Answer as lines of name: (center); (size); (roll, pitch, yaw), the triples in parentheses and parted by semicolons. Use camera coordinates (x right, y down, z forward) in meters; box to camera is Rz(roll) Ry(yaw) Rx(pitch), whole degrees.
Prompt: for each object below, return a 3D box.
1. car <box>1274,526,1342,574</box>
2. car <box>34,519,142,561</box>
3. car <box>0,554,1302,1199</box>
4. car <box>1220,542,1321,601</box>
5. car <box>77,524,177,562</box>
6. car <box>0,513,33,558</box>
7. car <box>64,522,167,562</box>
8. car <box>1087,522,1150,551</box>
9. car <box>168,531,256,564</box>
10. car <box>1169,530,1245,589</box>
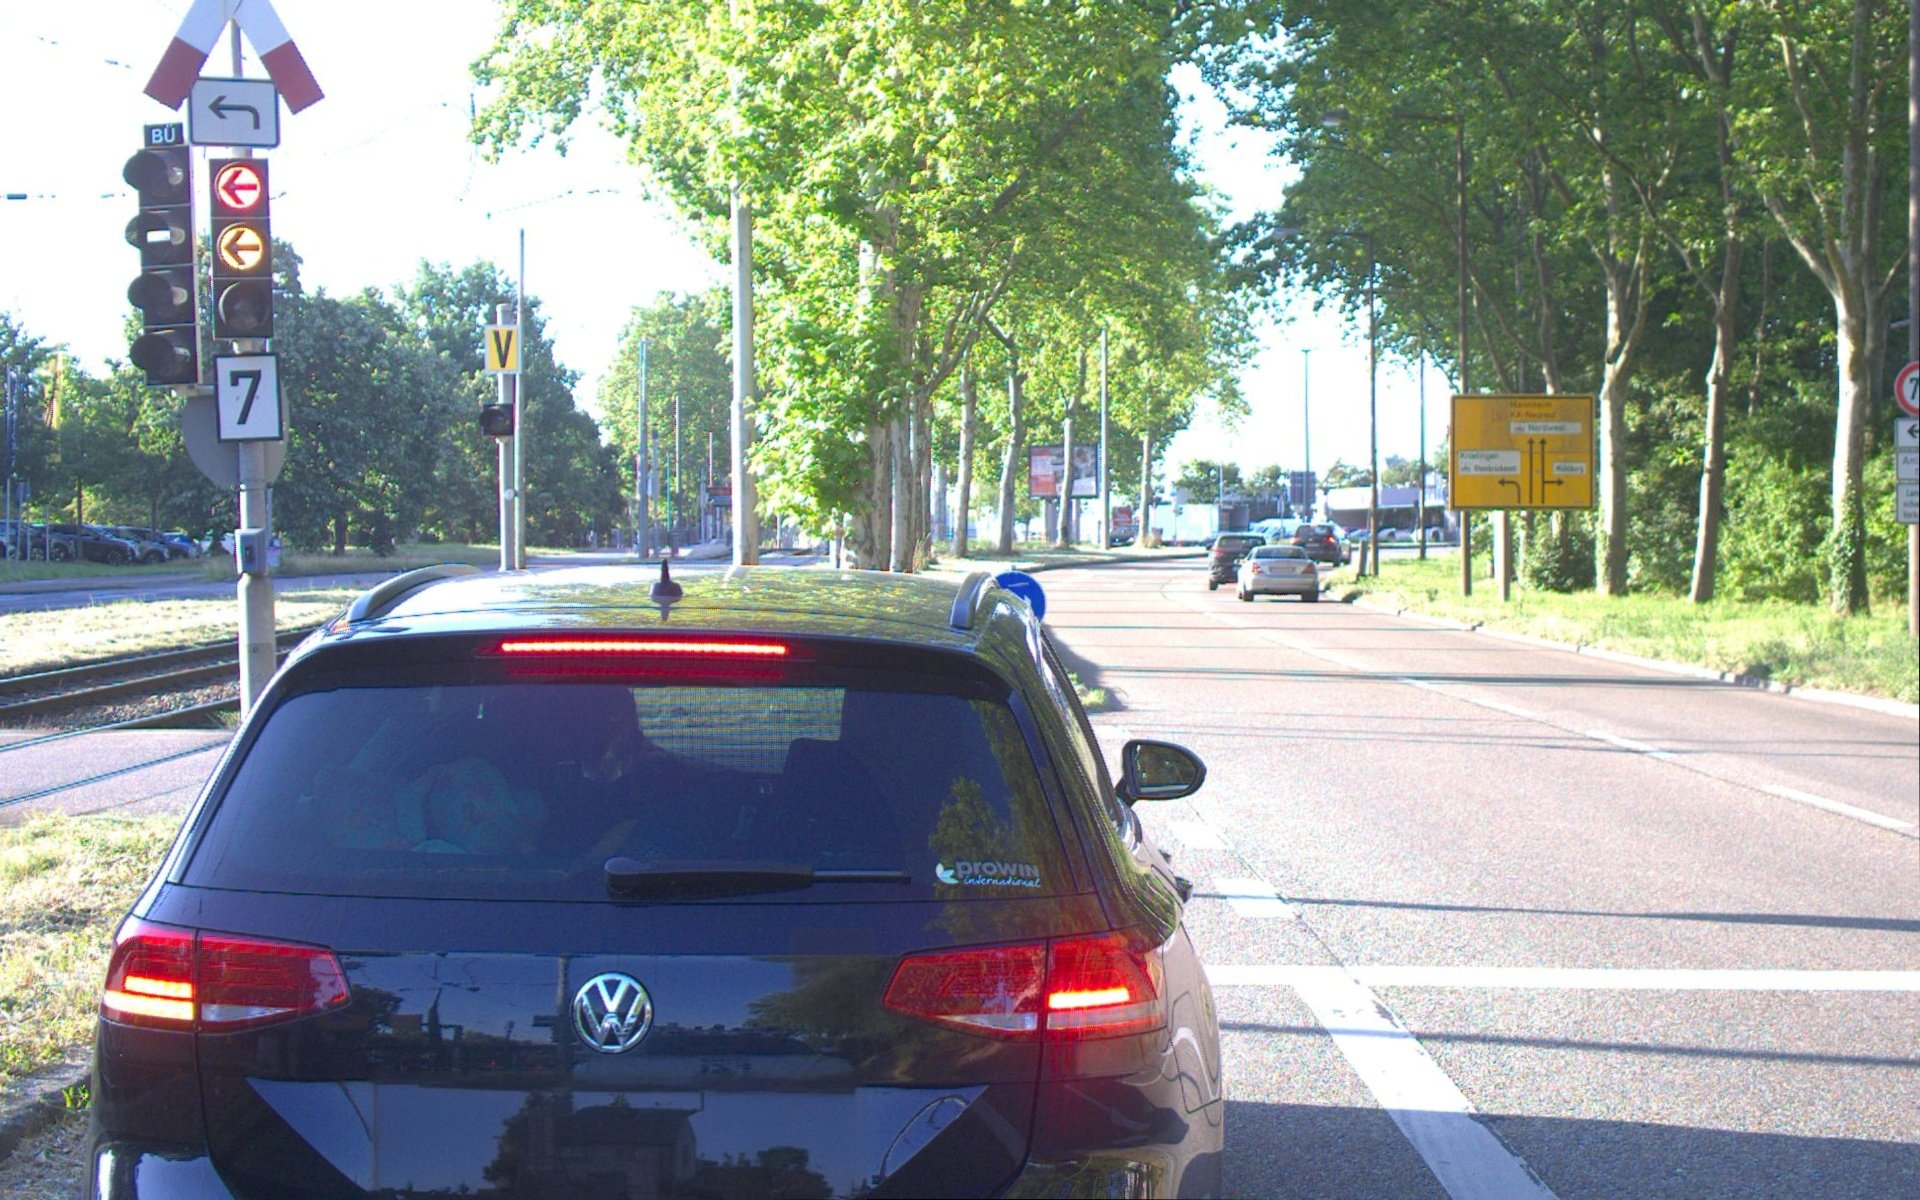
car: (12.931, -1.844, 127.426); (1.873, 1.629, 4.367); (4, 1, 13)
car: (-35.171, -2.419, 138.752); (3.986, 1.615, 1.744); (1, 1, -5)
car: (-0.479, 0.664, 6.414); (1.795, 1.459, 3.583); (1, 1, -1)
car: (7.189, -0.676, 79.862); (1.608, 1.290, 3.984); (1, 1, -5)
car: (-36.123, -2.479, 149.071); (3.986, 1.615, 1.744); (1, 1, -5)
car: (-35.921, -2.368, 125.003); (3.986, 1.615, 1.744); (1, 1, -5)
car: (-35.830, -2.461, 145.908); (3.986, 1.615, 1.744); (1, 1, -5)
car: (7.948, -3.189, 171.947); (1.995, 1.415, 3.996); (1, 1, 20)
car: (-36.515, -2.551, 167.984); (3.986, 1.550, 1.744); (1, 1, -4)
car: (6.638, -1.112, 92.792); (1.707, 1.555, 4.166); (0, 1, -1)
